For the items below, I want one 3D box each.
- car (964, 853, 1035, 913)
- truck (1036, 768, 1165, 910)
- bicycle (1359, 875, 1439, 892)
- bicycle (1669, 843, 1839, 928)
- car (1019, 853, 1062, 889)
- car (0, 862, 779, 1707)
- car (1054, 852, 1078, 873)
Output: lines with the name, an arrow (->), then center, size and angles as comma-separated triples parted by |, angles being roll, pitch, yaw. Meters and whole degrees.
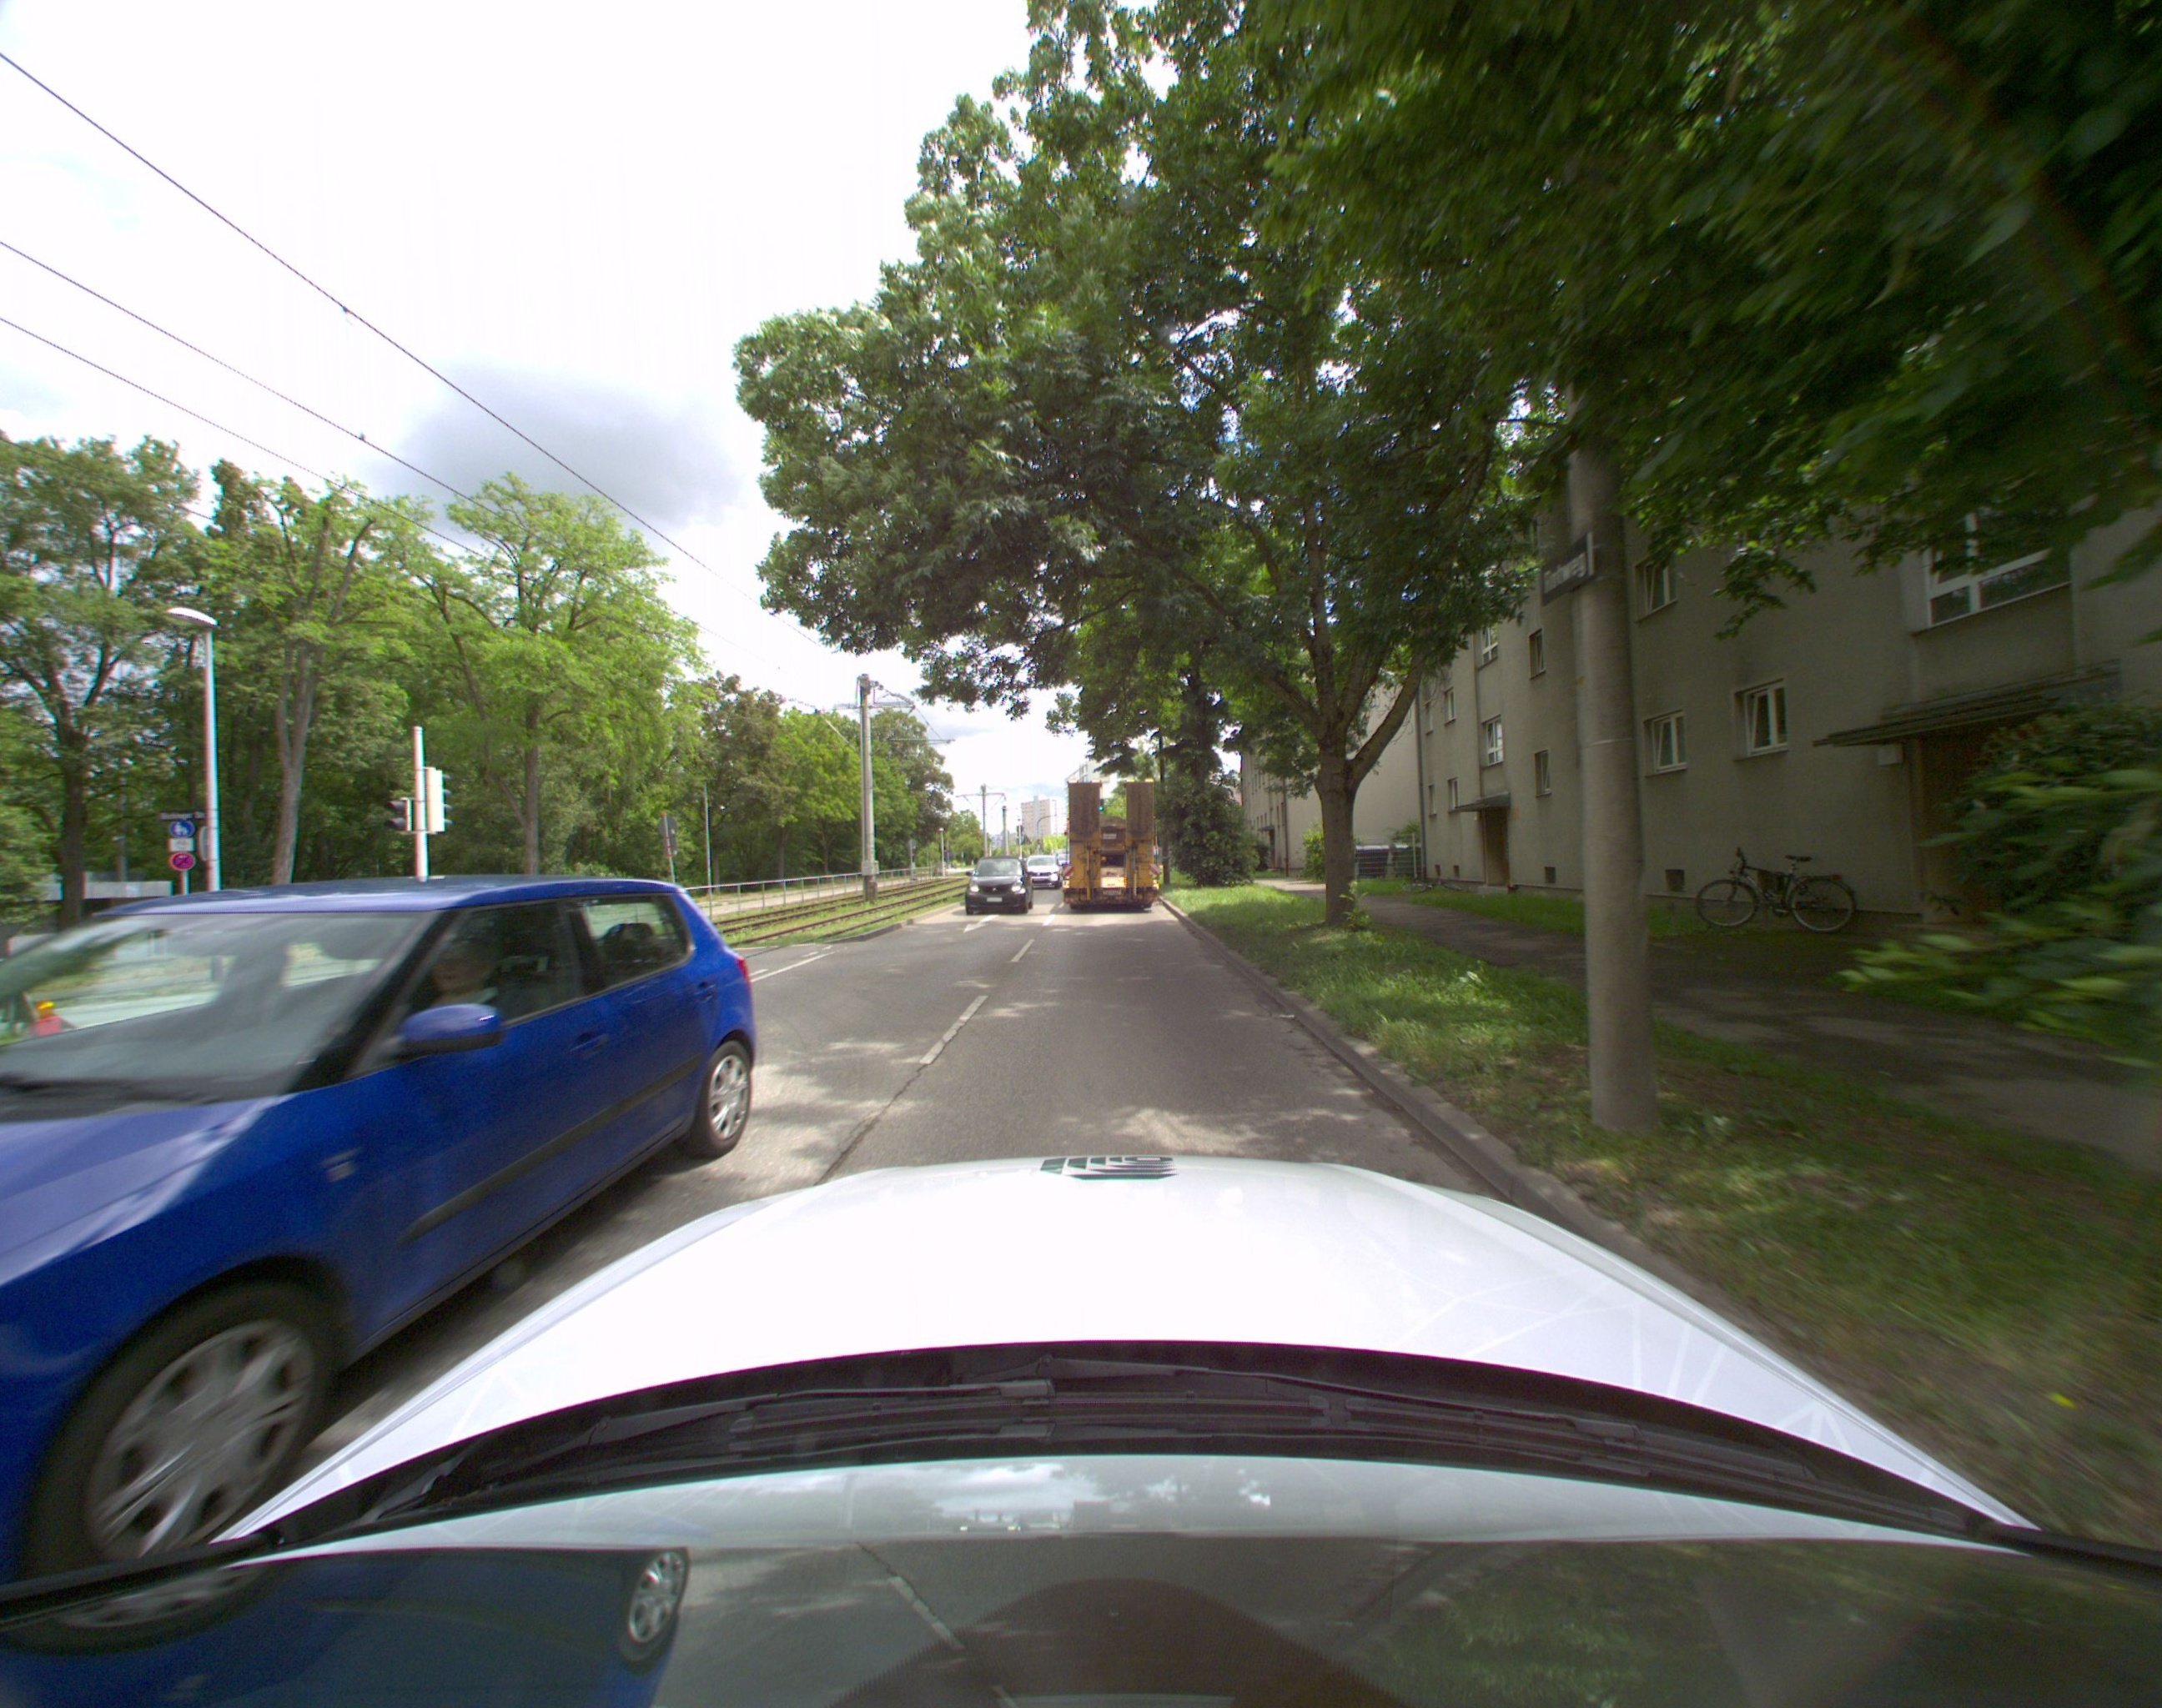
car -> -2.220, 0.762, 22.899 | 1.631, 1.533, 3.275 | -1, 0, 0
truck -> 0.547, -0.309, 27.632 | 3.305, 3.651, 12.560 | -1, -1, 0
bicycle -> 9.694, 0.899, 24.894 | 2.190, 0.508, 0.675 | -1, -1, 12
bicycle -> 9.185, 0.410, 11.198 | 0.438, 1.080, 1.736 | 0, -1, -33
car -> -1.833, 0.750, 38.123 | 1.710, 1.544, 4.001 | -1, 1, 1
car -> -2.637, 0.801, 2.985 | 1.576, 1.485, 3.807 | -1, 0, 1
car -> -1.123, 0.642, 64.064 | 1.707, 1.566, 4.167 | -1, 0, 1
